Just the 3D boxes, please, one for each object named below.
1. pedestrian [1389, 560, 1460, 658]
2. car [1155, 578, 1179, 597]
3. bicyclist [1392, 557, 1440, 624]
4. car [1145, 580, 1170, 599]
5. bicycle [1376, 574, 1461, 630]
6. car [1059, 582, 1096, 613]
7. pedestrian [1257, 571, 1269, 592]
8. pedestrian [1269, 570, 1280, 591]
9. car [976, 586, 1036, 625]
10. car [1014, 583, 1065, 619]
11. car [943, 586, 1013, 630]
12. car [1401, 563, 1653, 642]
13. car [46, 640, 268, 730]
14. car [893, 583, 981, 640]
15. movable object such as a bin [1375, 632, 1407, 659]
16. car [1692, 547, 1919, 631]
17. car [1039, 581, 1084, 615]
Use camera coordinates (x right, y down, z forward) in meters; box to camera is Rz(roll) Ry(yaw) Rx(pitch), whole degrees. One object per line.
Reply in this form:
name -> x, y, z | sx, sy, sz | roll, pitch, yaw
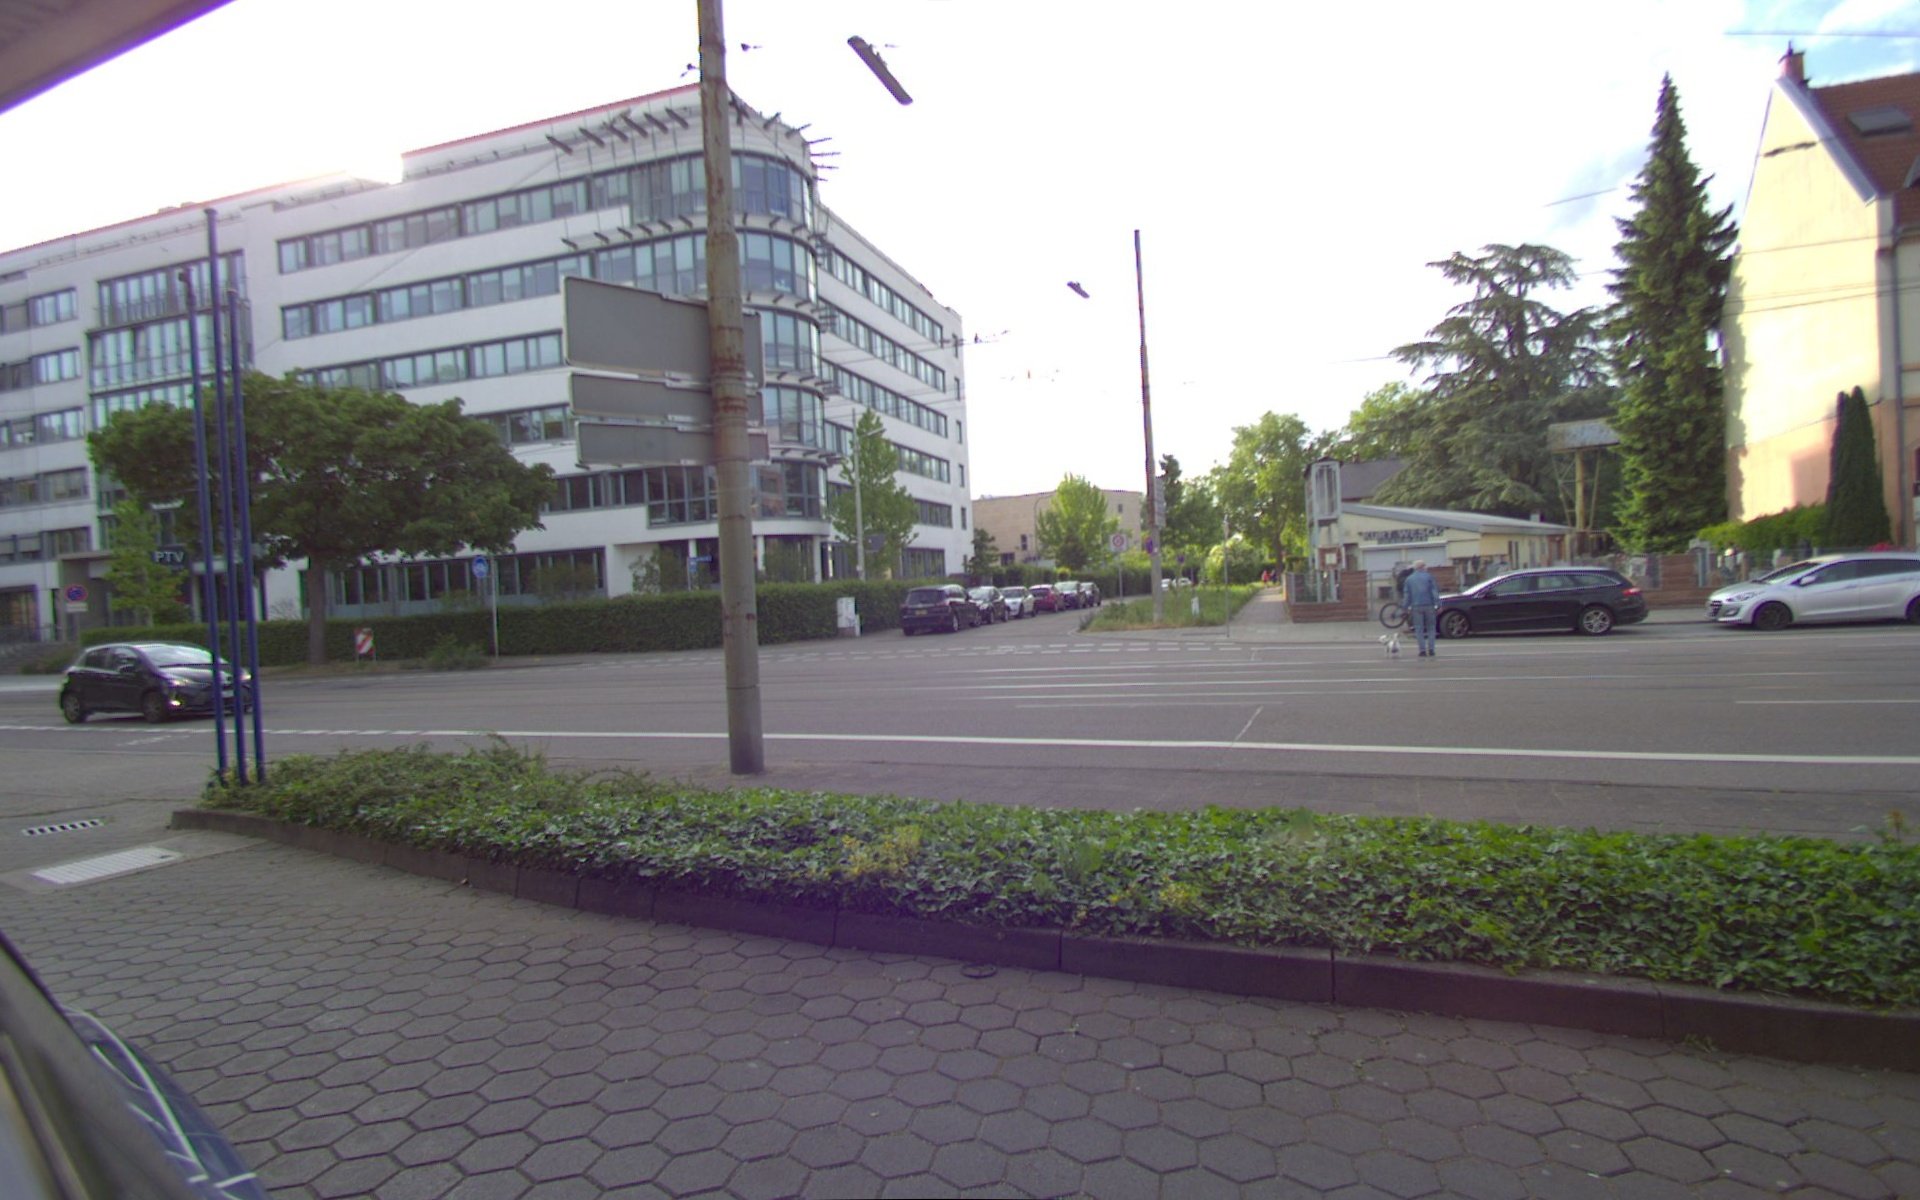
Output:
pedestrian -> 8.321, 0.161, 18.132 | 1.000, 1.680, 0.961 | -2, 1, 31
car -> 21.690, -1.335, 106.157 | 1.849, 1.748, 4.246 | -3, 1, 19
bicyclist -> 11.735, -0.248, 26.048 | 1.021, 1.617, 0.860 | -2, 3, 21
car -> 19.699, -1.085, 100.787 | 1.849, 1.748, 4.247 | -3, 1, 19
bicycle -> 11.773, 0.048, 26.059 | 1.906, 1.320, 0.860 | -2, 3, 22
car -> 7.287, -0.162, 62.491 | 1.731, 1.748, 4.030 | -3, 0, 13
pedestrian -> 27.695, -1.671, 92.548 | 0.899, 1.865, 0.942 | -3, -1, 20
pedestrian -> 28.671, -1.730, 92.283 | 0.899, 1.865, 0.942 | -3, -1, 20
car -> 2.140, 0.212, 45.782 | 1.929, 1.530, 4.274 | -3, 0, 13
car -> 4.173, 0.021, 52.488 | 1.929, 1.650, 4.274 | -3, 0, 13
car -> 0.791, 0.289, 40.971 | 1.929, 1.551, 4.274 | -3, 0, 13
car -> 12.908, 0.054, 23.438 | 4.742, 1.511, 2.001 | -3, 1, 21
car -> -15.504, 1.633, 19.550 | 3.786, 1.483, 1.678 | -3, 1, 22
car -> -0.728, 0.358, 35.412 | 1.994, 1.704, 4.274 | -3, 1, 13
movable object such as a bin -> 7.722, 0.818, 18.161 | 0.477, 0.424, 0.675 | -3, 1, 20
car -> 18.419, -0.245, 21.377 | 4.424, 1.494, 1.713 | -3, 1, 21
car -> 5.833, -0.152, 57.717 | 1.929, 1.748, 4.512 | -3, 0, 13
